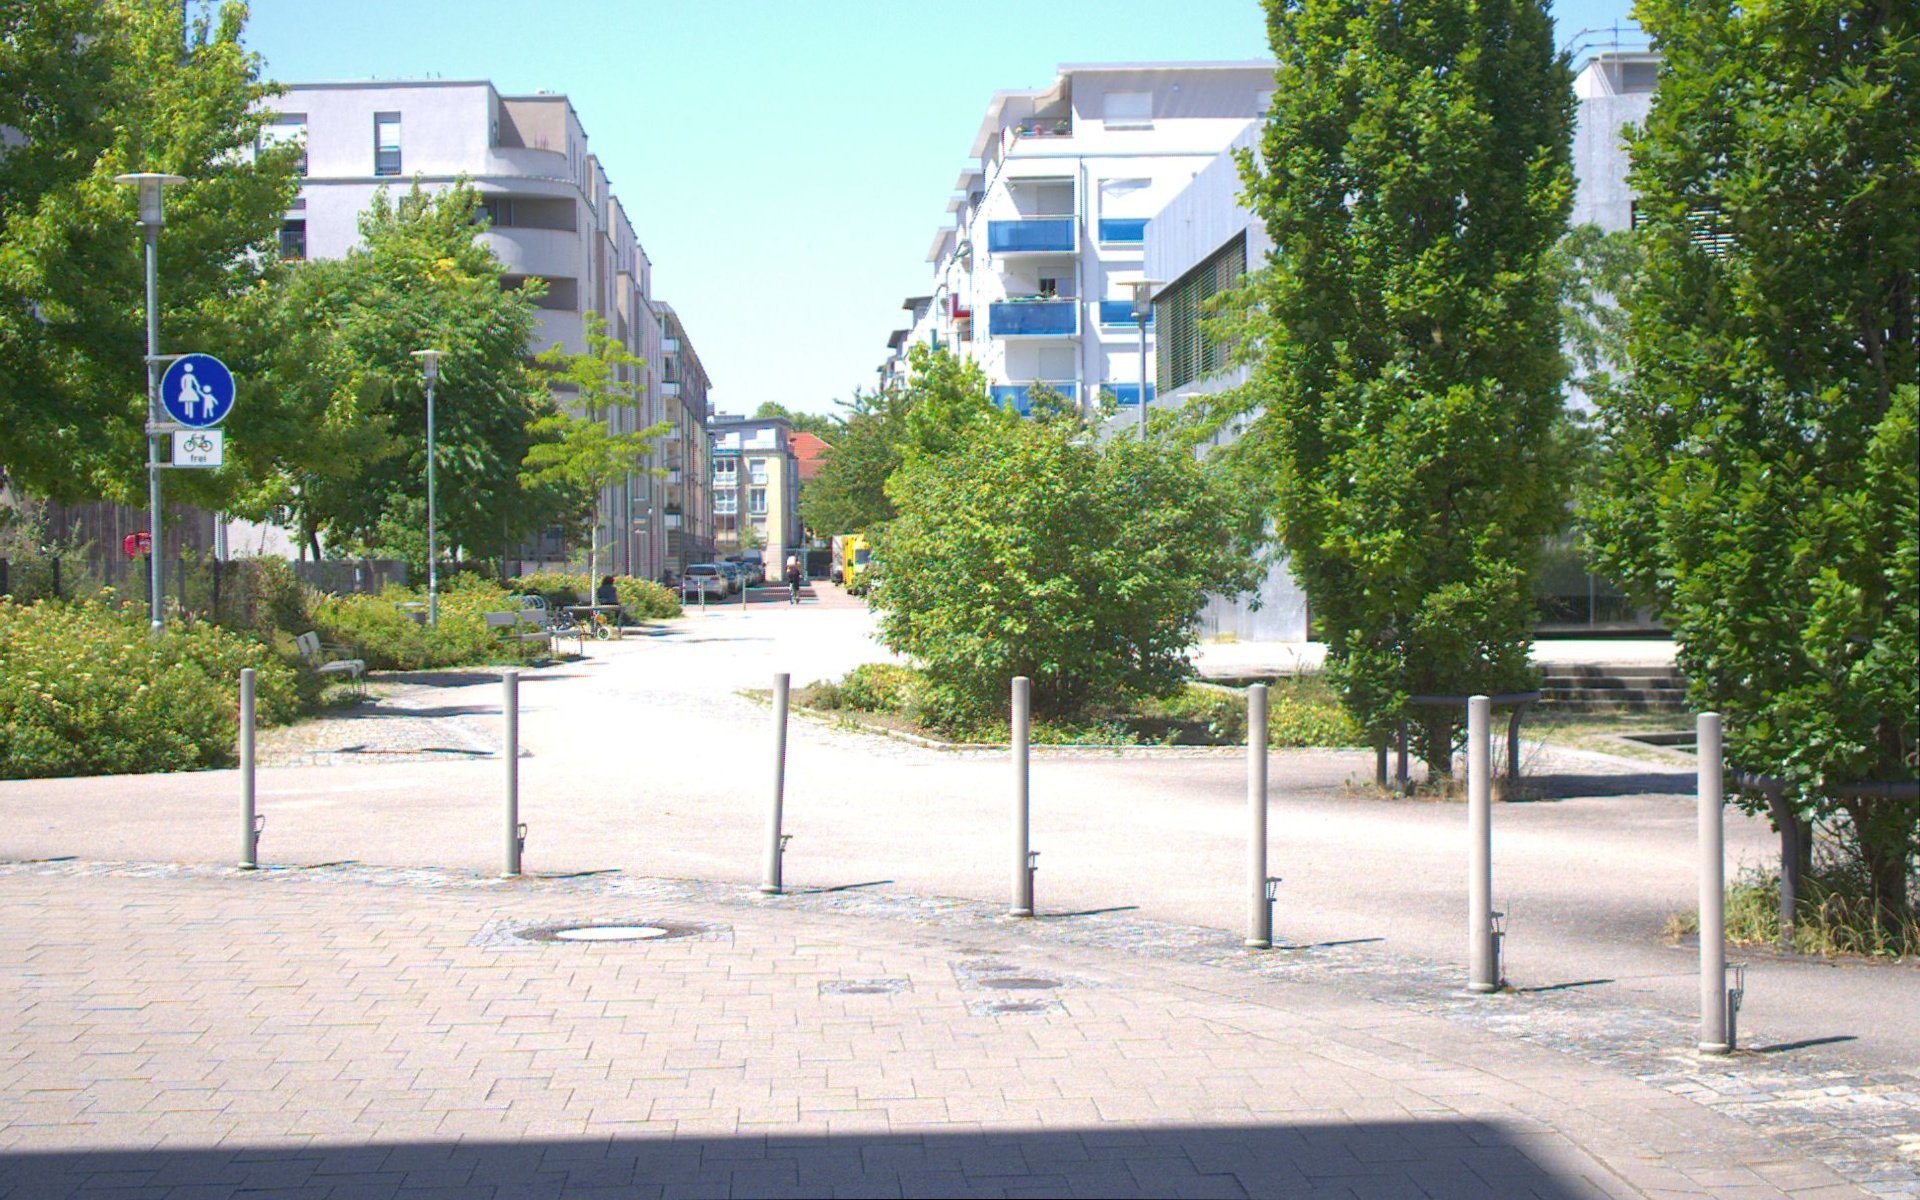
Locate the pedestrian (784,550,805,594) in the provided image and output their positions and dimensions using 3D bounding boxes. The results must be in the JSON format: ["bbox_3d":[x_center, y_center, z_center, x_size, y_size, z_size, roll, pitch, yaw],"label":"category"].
[{"bbox_3d":[-5.756,-0.988,119.664,0.694,1.524,0.599,-1,1,0],"label":"pedestrian"}]

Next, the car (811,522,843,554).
[{"bbox_3d":[-8.689,-4.049,224.766,1.993,2.007,4.000,0,0,-3],"label":"car"}]

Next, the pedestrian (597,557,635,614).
[{"bbox_3d":[-8.146,-0.341,81.325,0.847,1.343,0.696,0,1,-2],"label":"pedestrian"}]

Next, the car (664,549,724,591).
[{"bbox_3d":[-10.652,-1.205,137.947,2.146,1.646,4.088,0,0,-1],"label":"car"}]

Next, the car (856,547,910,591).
[{"bbox_3d":[-2.875,-1.155,129.572,1.993,1.604,4.000,0,0,-1],"label":"car"}]
